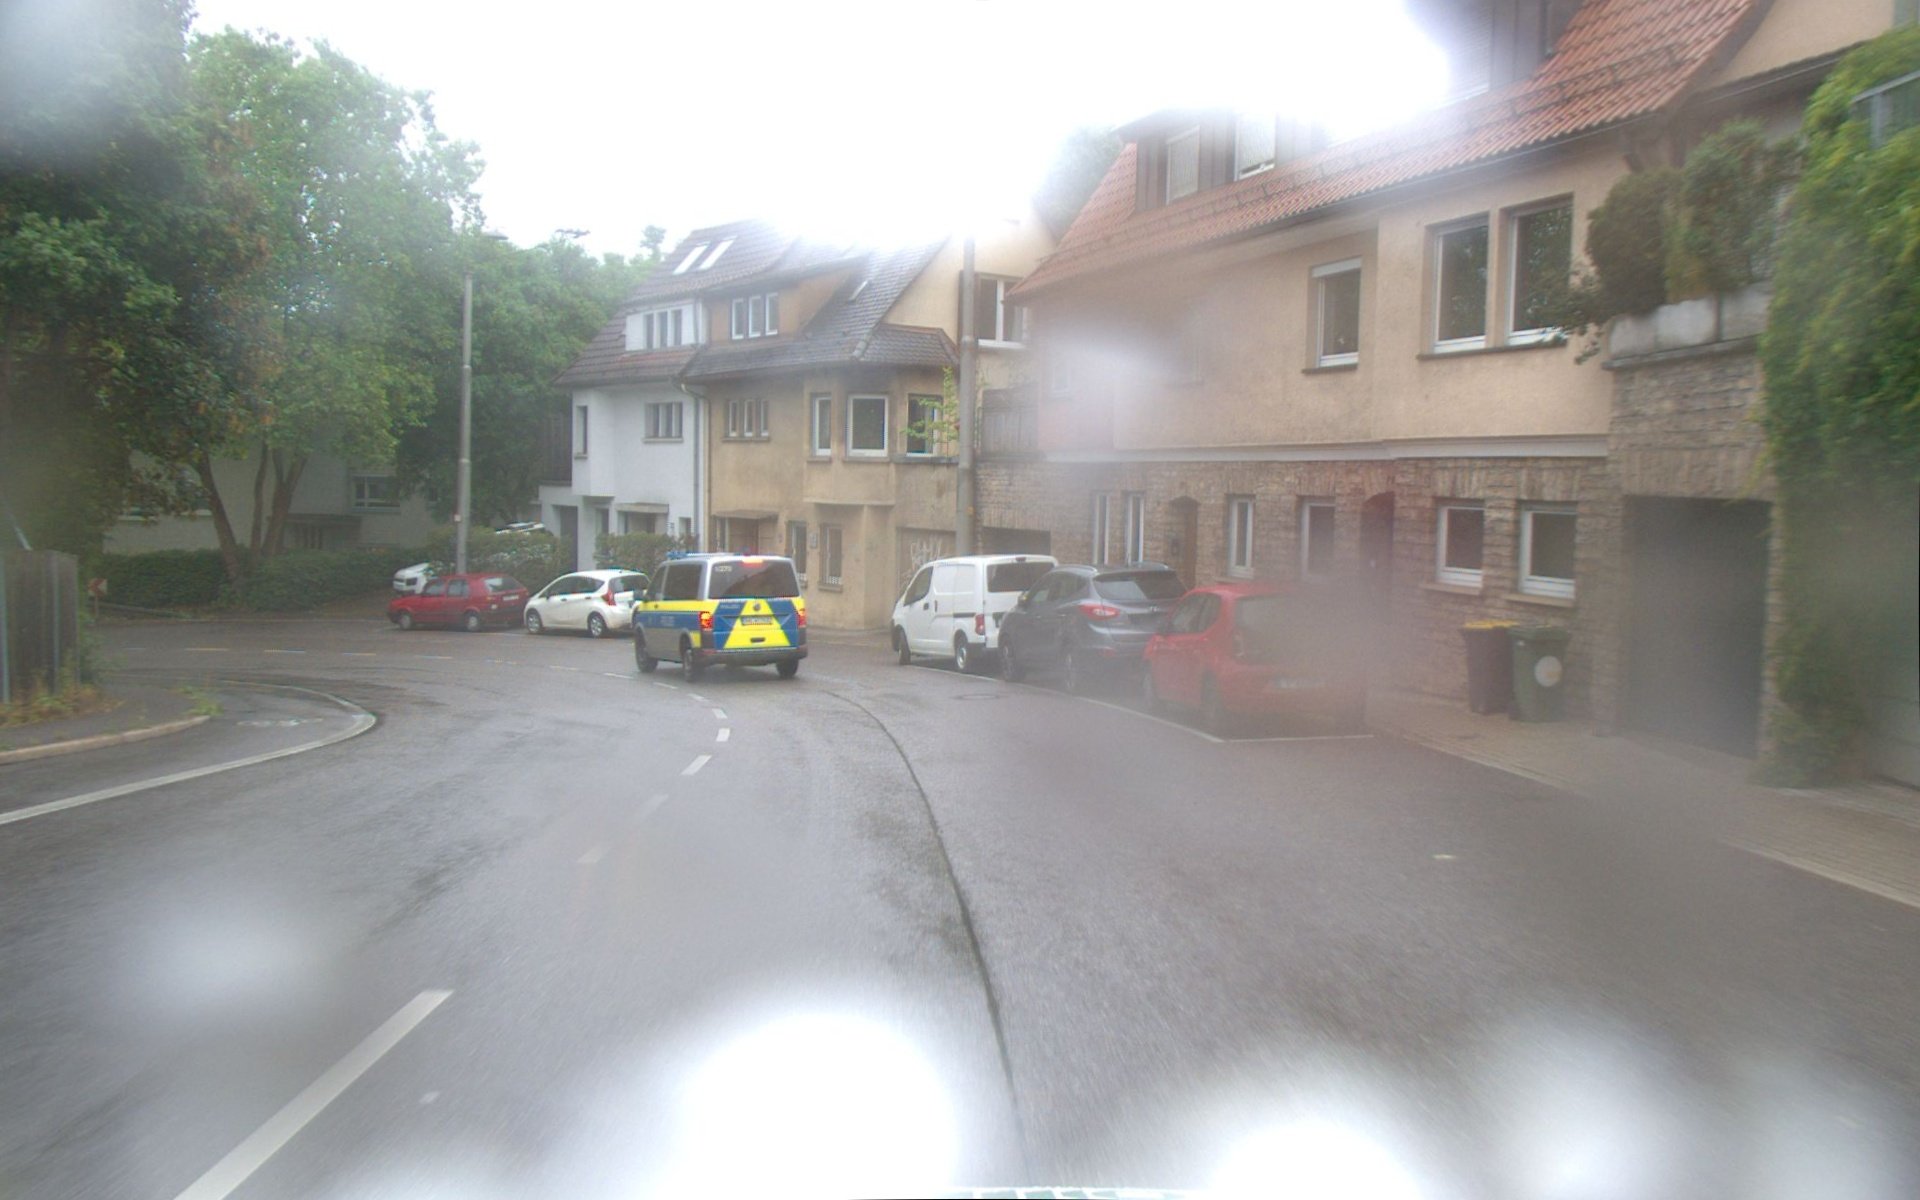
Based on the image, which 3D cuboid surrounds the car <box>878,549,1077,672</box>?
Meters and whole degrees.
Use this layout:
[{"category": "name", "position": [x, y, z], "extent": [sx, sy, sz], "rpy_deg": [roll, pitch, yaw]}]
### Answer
[{"category": "car", "position": [0.200, 0.100, 27.857], "extent": [1.683, 1.822, 4.295], "rpy_deg": [-4, 3, -23]}]

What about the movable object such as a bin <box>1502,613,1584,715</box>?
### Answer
[{"category": "movable object such as a bin", "position": [5.813, 0.633, 16.508], "extent": [0.584, 0.939, 0.513], "rpy_deg": [-3, 2, -8]}]

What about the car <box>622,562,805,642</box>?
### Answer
[{"category": "car", "position": [-5.502, 0.016, 36.559], "extent": [1.904, 1.565, 4.347], "rpy_deg": [-5, 3, -42]}]

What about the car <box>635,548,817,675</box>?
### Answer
[{"category": "car", "position": [-4.019, 0.193, 27.766], "extent": [1.966, 1.926, 4.538], "rpy_deg": [0, -1, -22]}]

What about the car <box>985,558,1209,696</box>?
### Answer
[{"category": "car", "position": [1.783, 0.282, 23.027], "extent": [1.589, 1.632, 4.392], "rpy_deg": [-3, 3, -16]}]

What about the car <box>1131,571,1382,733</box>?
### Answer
[{"category": "car", "position": [3.088, 0.472, 17.918], "extent": [1.585, 1.460, 3.574], "rpy_deg": [-1, 2, -9]}]

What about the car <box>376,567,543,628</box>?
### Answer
[{"category": "car", "position": [-13.016, -0.065, 42.969], "extent": [4.103, 1.390, 1.783], "rpy_deg": [-1, 3, 30]}]

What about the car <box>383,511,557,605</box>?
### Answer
[{"category": "car", "position": [-14.528, -1.306, 49.113], "extent": [4.362, 1.871, 1.979], "rpy_deg": [-14, 11, -31]}]

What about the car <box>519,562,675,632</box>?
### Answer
[{"category": "car", "position": [-8.787, -0.079, 39.926], "extent": [3.754, 1.541, 1.761], "rpy_deg": [0, 3, 42]}]

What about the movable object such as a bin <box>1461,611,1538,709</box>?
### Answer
[{"category": "movable object such as a bin", "position": [5.602, 0.615, 17.190], "extent": [0.576, 0.939, 0.507], "rpy_deg": [-3, 2, -8]}]
